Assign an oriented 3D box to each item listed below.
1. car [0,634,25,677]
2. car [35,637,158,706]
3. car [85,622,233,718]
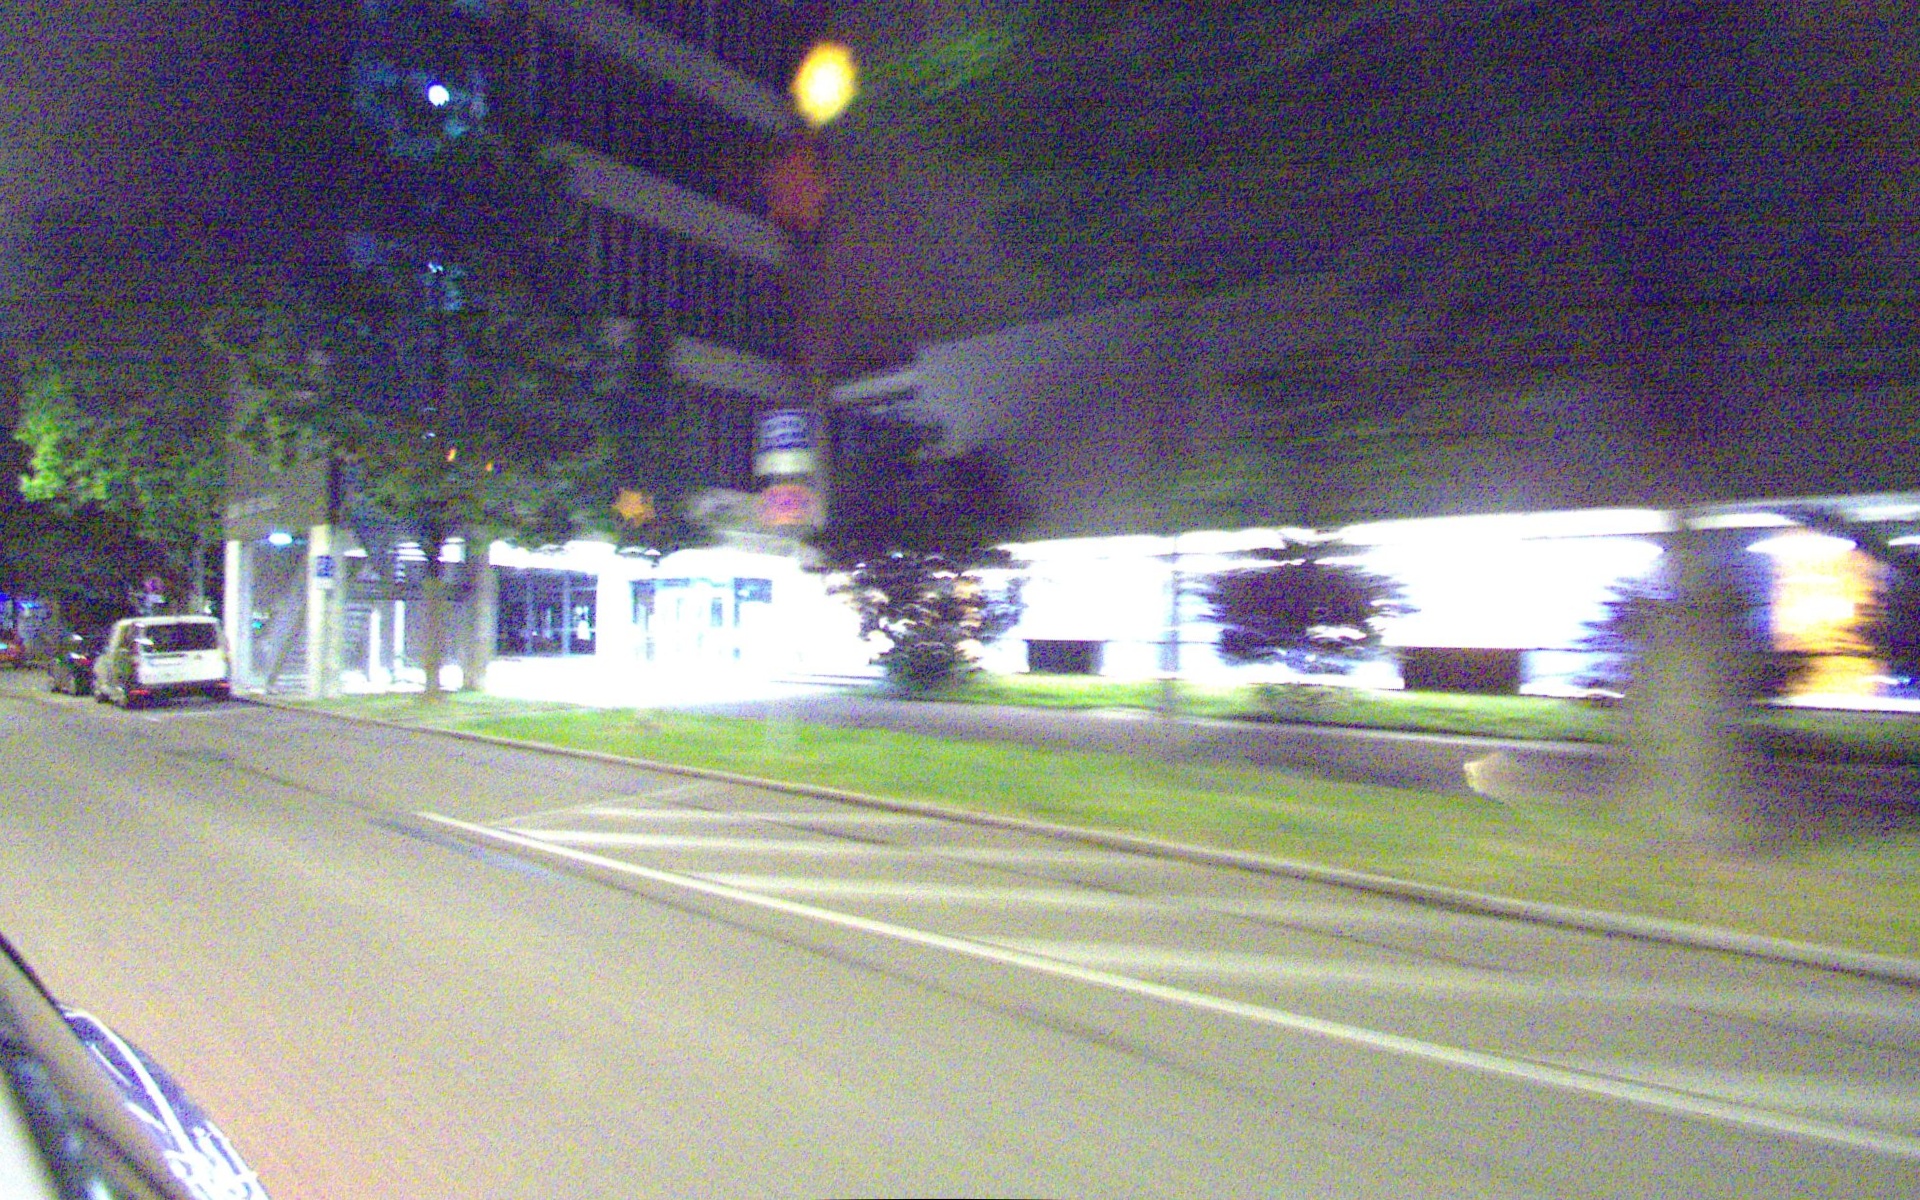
[{"bbox_3d":[-38.050,2.146,39.581,4.072,1.611,1.803,-2,-2,42],"label":"car"},{"bbox_3d":[-21.464,1.713,25.115,3.826,1.444,1.683,-2,2,41],"label":"car"},{"bbox_3d":[-17.093,1.413,21.526,4.209,1.825,1.803,-2,-2,42],"label":"car"}]
